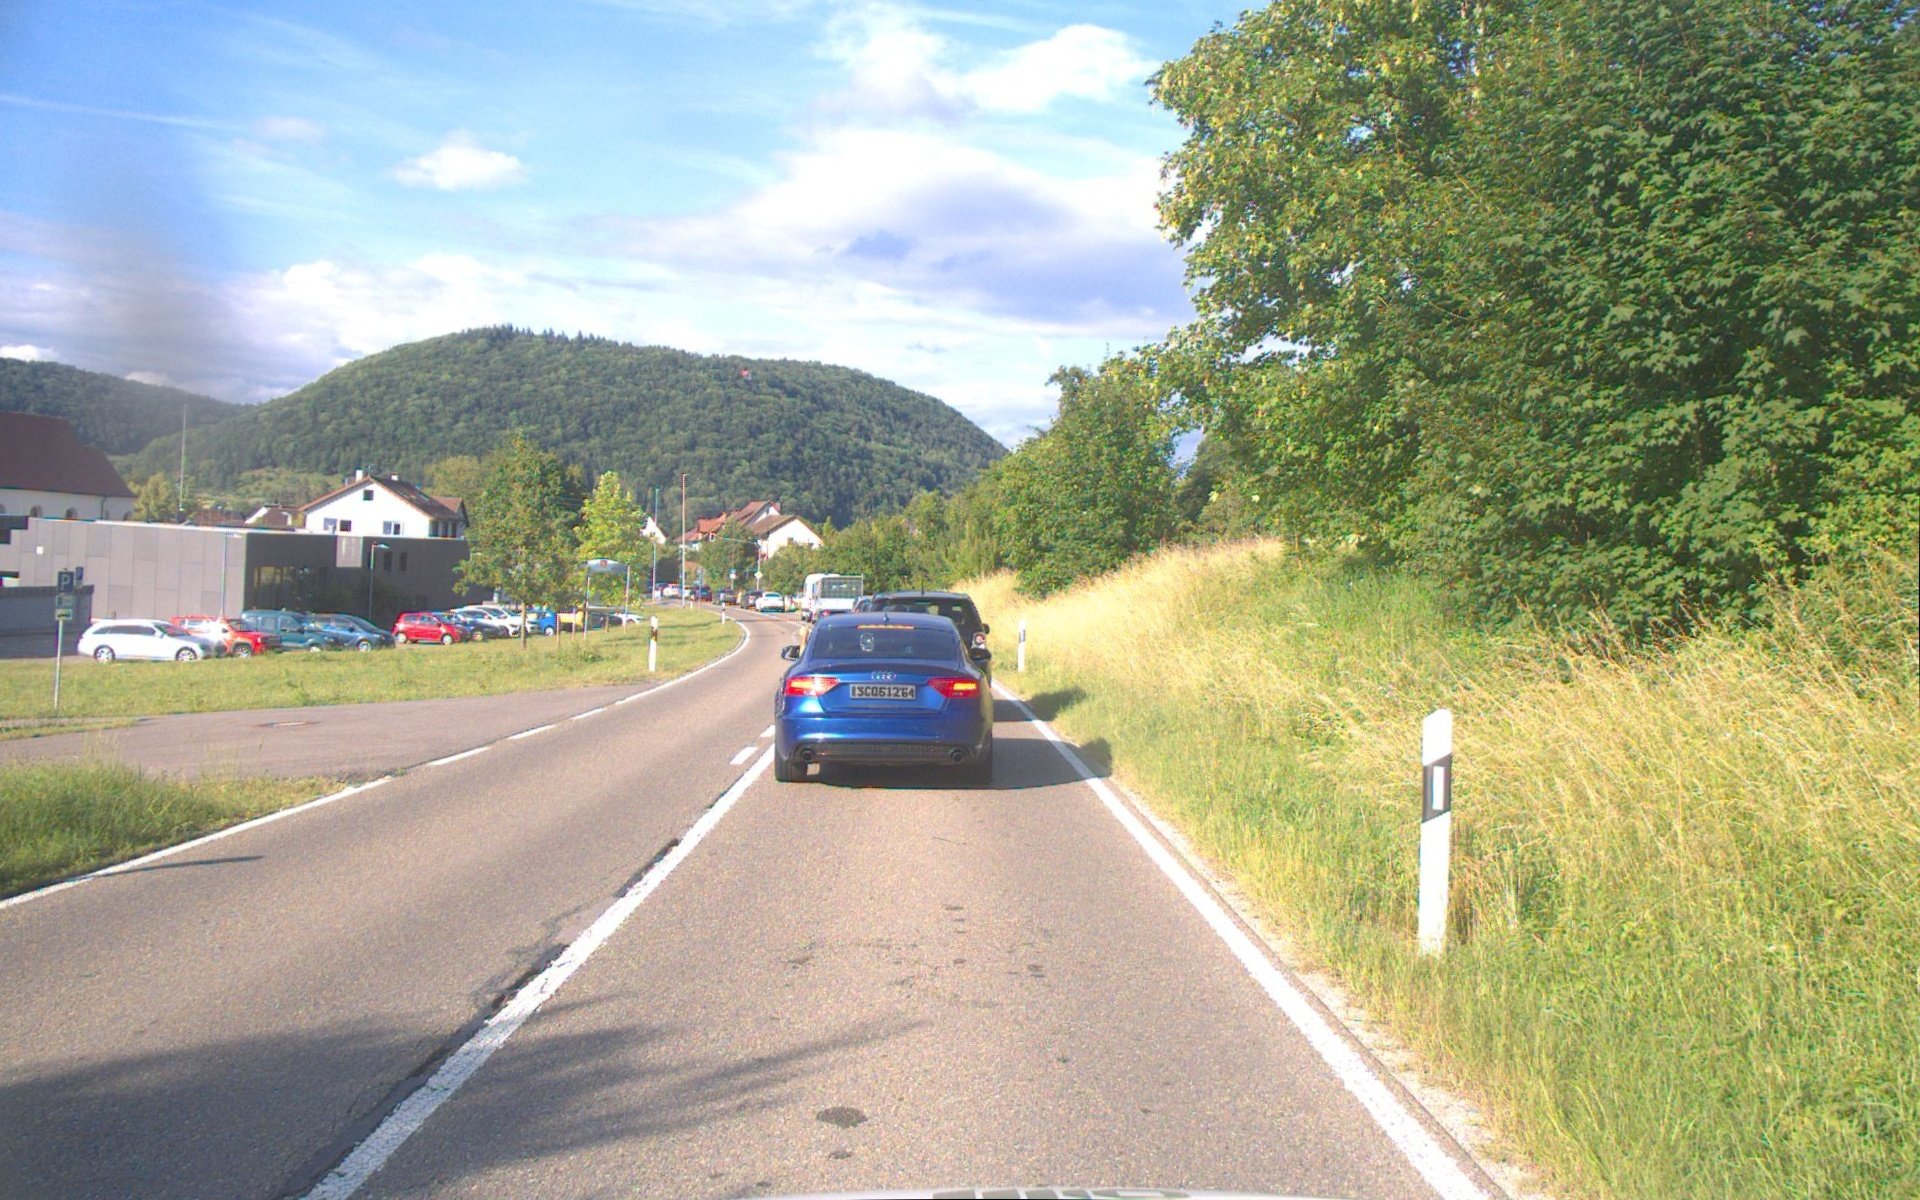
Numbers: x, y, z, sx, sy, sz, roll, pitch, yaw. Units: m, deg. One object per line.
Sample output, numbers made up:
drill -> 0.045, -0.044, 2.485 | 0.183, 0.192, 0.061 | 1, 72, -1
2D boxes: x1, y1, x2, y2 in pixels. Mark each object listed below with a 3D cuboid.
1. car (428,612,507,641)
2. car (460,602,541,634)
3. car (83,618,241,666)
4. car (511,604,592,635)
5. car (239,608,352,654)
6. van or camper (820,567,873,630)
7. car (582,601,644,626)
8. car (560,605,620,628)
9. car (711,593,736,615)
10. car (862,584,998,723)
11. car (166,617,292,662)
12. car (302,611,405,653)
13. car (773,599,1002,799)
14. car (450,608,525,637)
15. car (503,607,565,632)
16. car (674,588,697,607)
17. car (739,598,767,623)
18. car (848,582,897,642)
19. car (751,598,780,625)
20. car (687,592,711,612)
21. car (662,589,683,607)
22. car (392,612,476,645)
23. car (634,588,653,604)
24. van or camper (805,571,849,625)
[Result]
car -> -25.579, 1.376, 85.942 | 3.548, 1.430, 1.597 | 0, -3, 4
car -> -25.516, 0.993, 91.825 | 3.991, 1.702, 1.598 | 0, 1, 4
car -> -27.838, 1.456, 57.766 | 4.543, 1.616, 2.001 | 0, 0, 3
car -> -24.962, 1.187, 101.187 | 4.457, 1.846, 1.842 | -1, 0, 4
car -> -26.605, 1.244, 66.290 | 3.782, 1.752, 1.756 | 1, 0, 1
van or camper -> -4.870, -0.064, 70.204 | 2.013, 2.549, 5.803 | -1, 0, -6
car -> -24.305, 0.949, 115.817 | 3.951, 1.689, 1.656 | -1, 0, 4
car -> -24.925, 1.093, 111.552 | 3.634, 1.464, 1.510 | -1, 0, 4
car -> -21.528, 0.384, 150.551 | 1.634, 1.958, 3.979 | 0, 0, -18
car -> -0.467, 0.651, 21.882 | 1.613, 1.653, 3.514 | 2, 0, -3
car -> -26.813, 1.432, 60.714 | 3.837, 1.606, 1.756 | 0, 0, 3
car -> -25.992, 1.363, 70.921 | 3.738, 1.752, 1.733 | 0, 0, 3
car -> -0.559, 0.753, 14.334 | 1.707, 1.476, 3.516 | 2, 0, 0
car -> -25.503, 1.205, 89.302 | 3.589, 1.520, 1.597 | 0, 0, 4
car -> -25.383, 1.164, 98.630 | 3.302, 1.397, 1.659 | -1, 0, -4
car -> -28.939, -0.299, 174.367 | 1.652, 1.958, 3.977 | 0, 0, -20
car -> -16.634, 0.872, 132.814 | 1.632, 1.958, 3.983 | -1, 0, -15
car -> -3.134, 0.411, 58.715 | 1.537, 2.049, 3.995 | -1, 0, -5
car -> -14.312, 0.836, 121.725 | 1.631, 1.958, 3.986 | -1, 0, -13
car -> -26.167, 0.165, 165.680 | 1.652, 1.958, 3.977 | 0, 0, -20
car -> -31.691, -0.219, 182.315 | 1.653, 1.958, 3.975 | 0, 0, -21
car -> -25.768, 1.391, 81.067 | 3.548, 1.469, 1.649 | 1, 1, 4
car -> -37.858, -0.455, 197.688 | 1.653, 1.958, 3.975 | 0, 0, -21
van or camper -> -7.081, -0.088, 87.673 | 2.236, 2.761, 5.760 | -1, 0, -6
